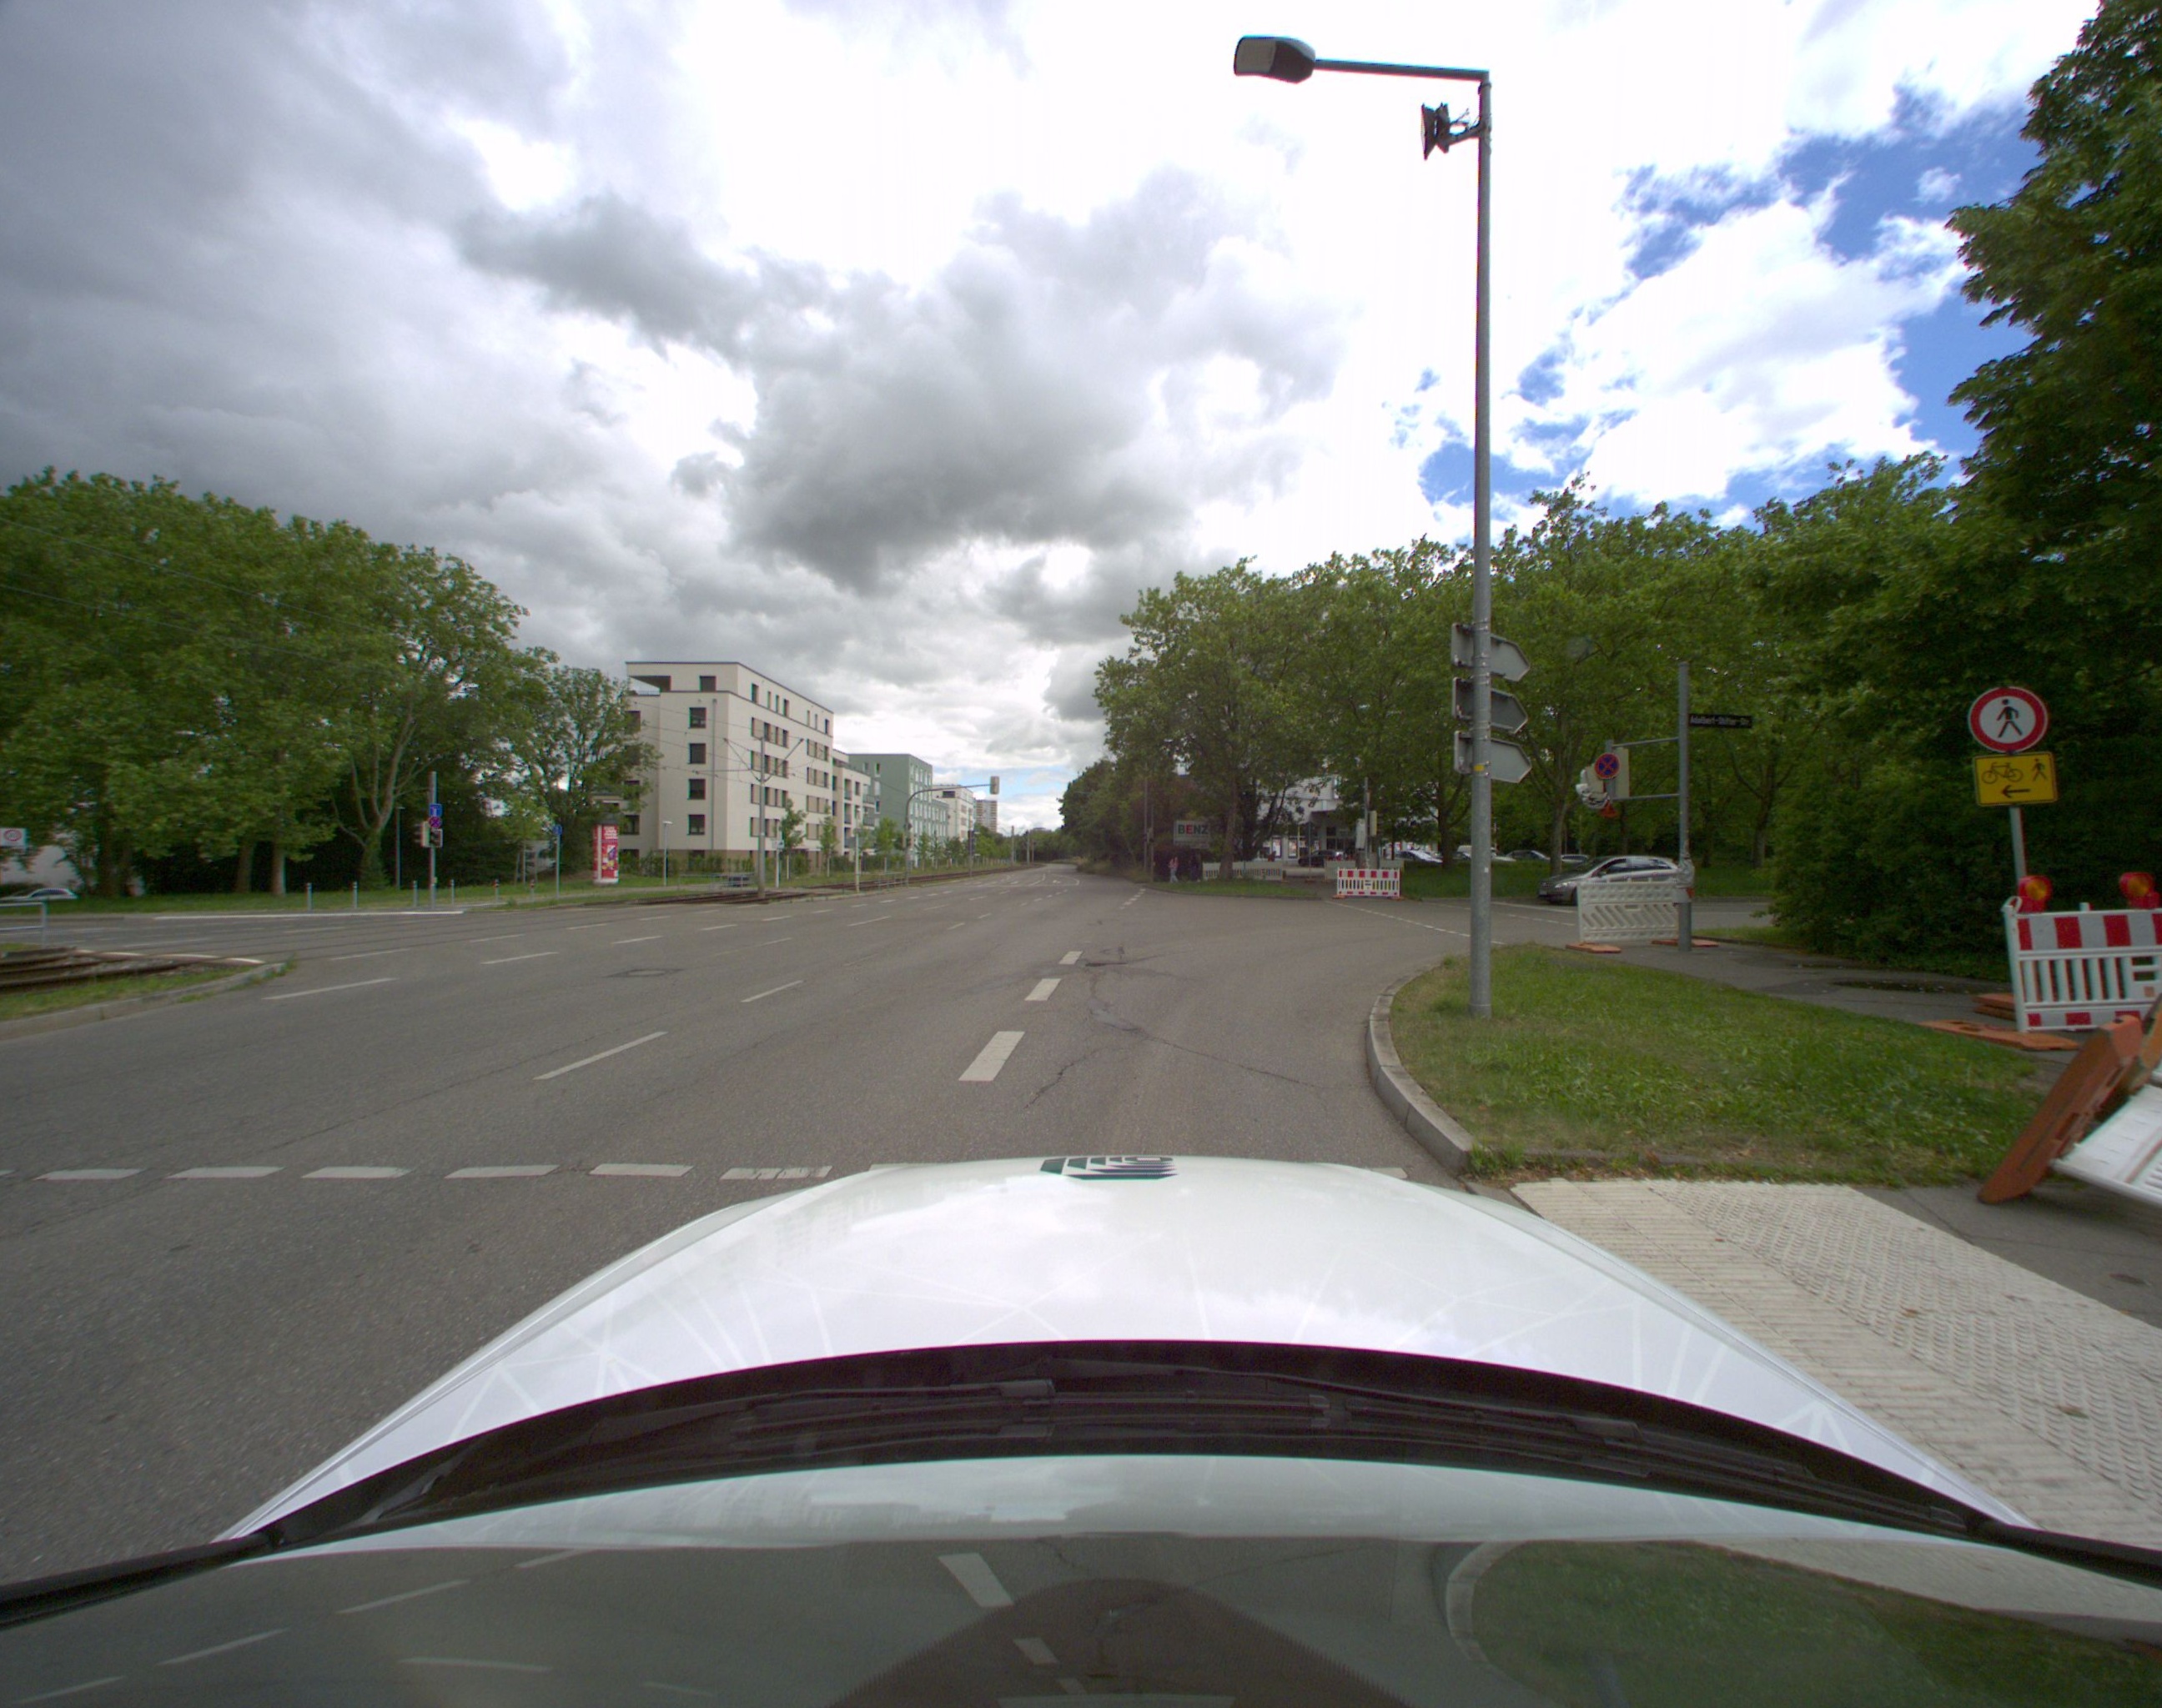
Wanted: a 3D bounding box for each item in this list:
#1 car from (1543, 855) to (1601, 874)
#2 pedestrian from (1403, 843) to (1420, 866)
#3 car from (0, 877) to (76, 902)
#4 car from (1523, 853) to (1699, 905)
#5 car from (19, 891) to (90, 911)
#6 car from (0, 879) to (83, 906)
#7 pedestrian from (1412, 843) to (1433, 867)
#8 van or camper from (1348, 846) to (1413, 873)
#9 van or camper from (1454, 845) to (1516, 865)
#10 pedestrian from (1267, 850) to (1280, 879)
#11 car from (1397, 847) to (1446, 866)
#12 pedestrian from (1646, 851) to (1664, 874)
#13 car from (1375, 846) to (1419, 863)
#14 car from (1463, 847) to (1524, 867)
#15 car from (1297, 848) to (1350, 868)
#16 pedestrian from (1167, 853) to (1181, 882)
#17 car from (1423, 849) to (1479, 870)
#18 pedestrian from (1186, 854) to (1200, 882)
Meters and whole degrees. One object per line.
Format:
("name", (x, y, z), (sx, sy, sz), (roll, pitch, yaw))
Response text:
("car", (39.858, 0.895, 66.233), (1.736, 1.500, 3.716), (0, -1, -23))
("pedestrian", (23.095, 0.029, 56.909), (0.792, 1.586, 0.798), (0, -1, -5))
("car", (-76.958, 2.605, 59.710), (1.644, 1.730, 3.807), (-1, -1, 25))
("car", (16.698, 0.785, 25.826), (4.377, 1.586, 1.774), (0, -1, 4))
("car", (-79.368, 3.601, 63.012), (1.429, 1.344, 3.158), (-1, 0, 25))
("car", (-71.732, 2.634, 55.902), (1.689, 1.648, 3.809), (0, 0, 0))
("pedestrian", (27.257, 0.116, 64.972), (1.075, 1.871, 1.053), (0, -1, -17))
("van or camper", (19.896, 0.348, 54.227), (1.848, 1.684, 3.968), (-1, 0, -24))
("van or camper", (28.942, 0.064, 58.422), (1.522, 1.356, 3.739), (1, -1, -29))
("pedestrian", (10.660, 0.585, 45.153), (0.649, 1.539, 0.775), (0, -1, 11))
("car", (29.924, 0.192, 71.635), (1.677, 1.634, 3.788), (0, 0, -27))
("pedestrian", (49.940, 0.735, 70.858), (1.088, 1.950, 0.976), (2, -1, -33))
("car", (27.172, 0.039, 70.119), (1.488, 1.404, 3.378), (0, -1, -27))
("car", (30.612, 0.239, 60.549), (1.488, 1.465, 3.857), (0, -1, -27))
("car", (19.231, 0.352, 64.803), (1.736, 1.500, 4.236), (0, -1, -23))
("pedestrian", (4.976, 0.725, 43.592), (0.692, 1.489, 0.690), (-1, -1, 14))
("car", (25.808, 0.404, 56.859), (1.487, 1.404, 3.379), (0, -1, -26))
("pedestrian", (6.013, 0.733, 43.762), (0.693, 1.489, 0.722), (0, -1, 8))
